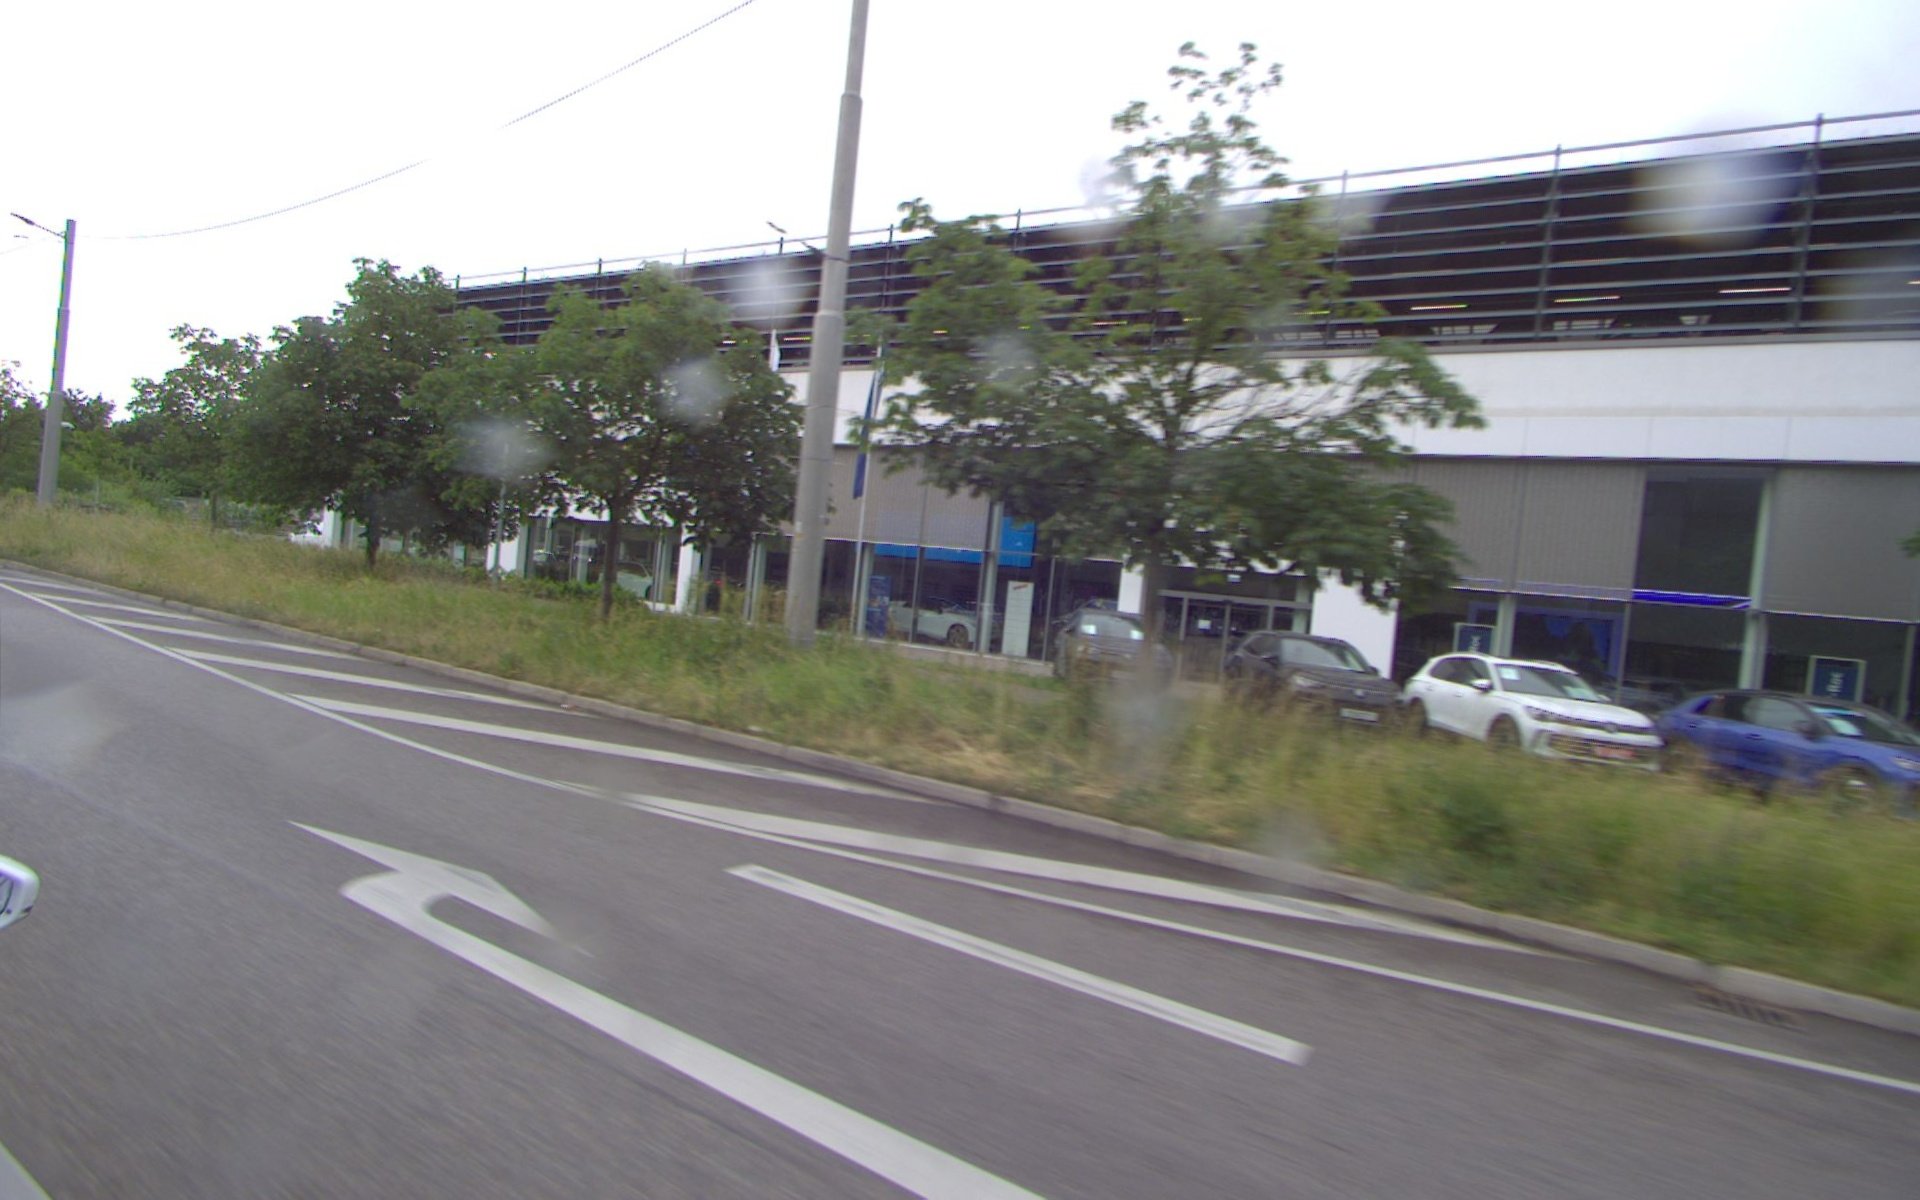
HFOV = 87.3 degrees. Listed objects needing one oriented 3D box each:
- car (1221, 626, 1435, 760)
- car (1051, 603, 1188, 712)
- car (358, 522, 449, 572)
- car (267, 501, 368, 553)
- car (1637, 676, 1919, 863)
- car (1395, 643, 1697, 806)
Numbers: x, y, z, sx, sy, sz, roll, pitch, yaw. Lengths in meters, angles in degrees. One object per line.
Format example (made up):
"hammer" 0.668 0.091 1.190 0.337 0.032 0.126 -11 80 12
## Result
"car" 5.839 1.391 16.593 1.766 1.589 4.372 5 1 0
"car" 2.885 0.979 19.215 1.817 1.589 4.622 5 1 1
"car" -30.202 -2.877 54.558 4.625 2.074 1.951 7 -2 28
"car" -32.774 -3.722 51.268 5.003 2.038 2.047 7 0 29
"car" 11.070 2.042 12.793 1.766 1.589 4.184 5 1 -4
"car" 8.344 1.675 14.896 1.821 1.648 4.352 5 1 1
